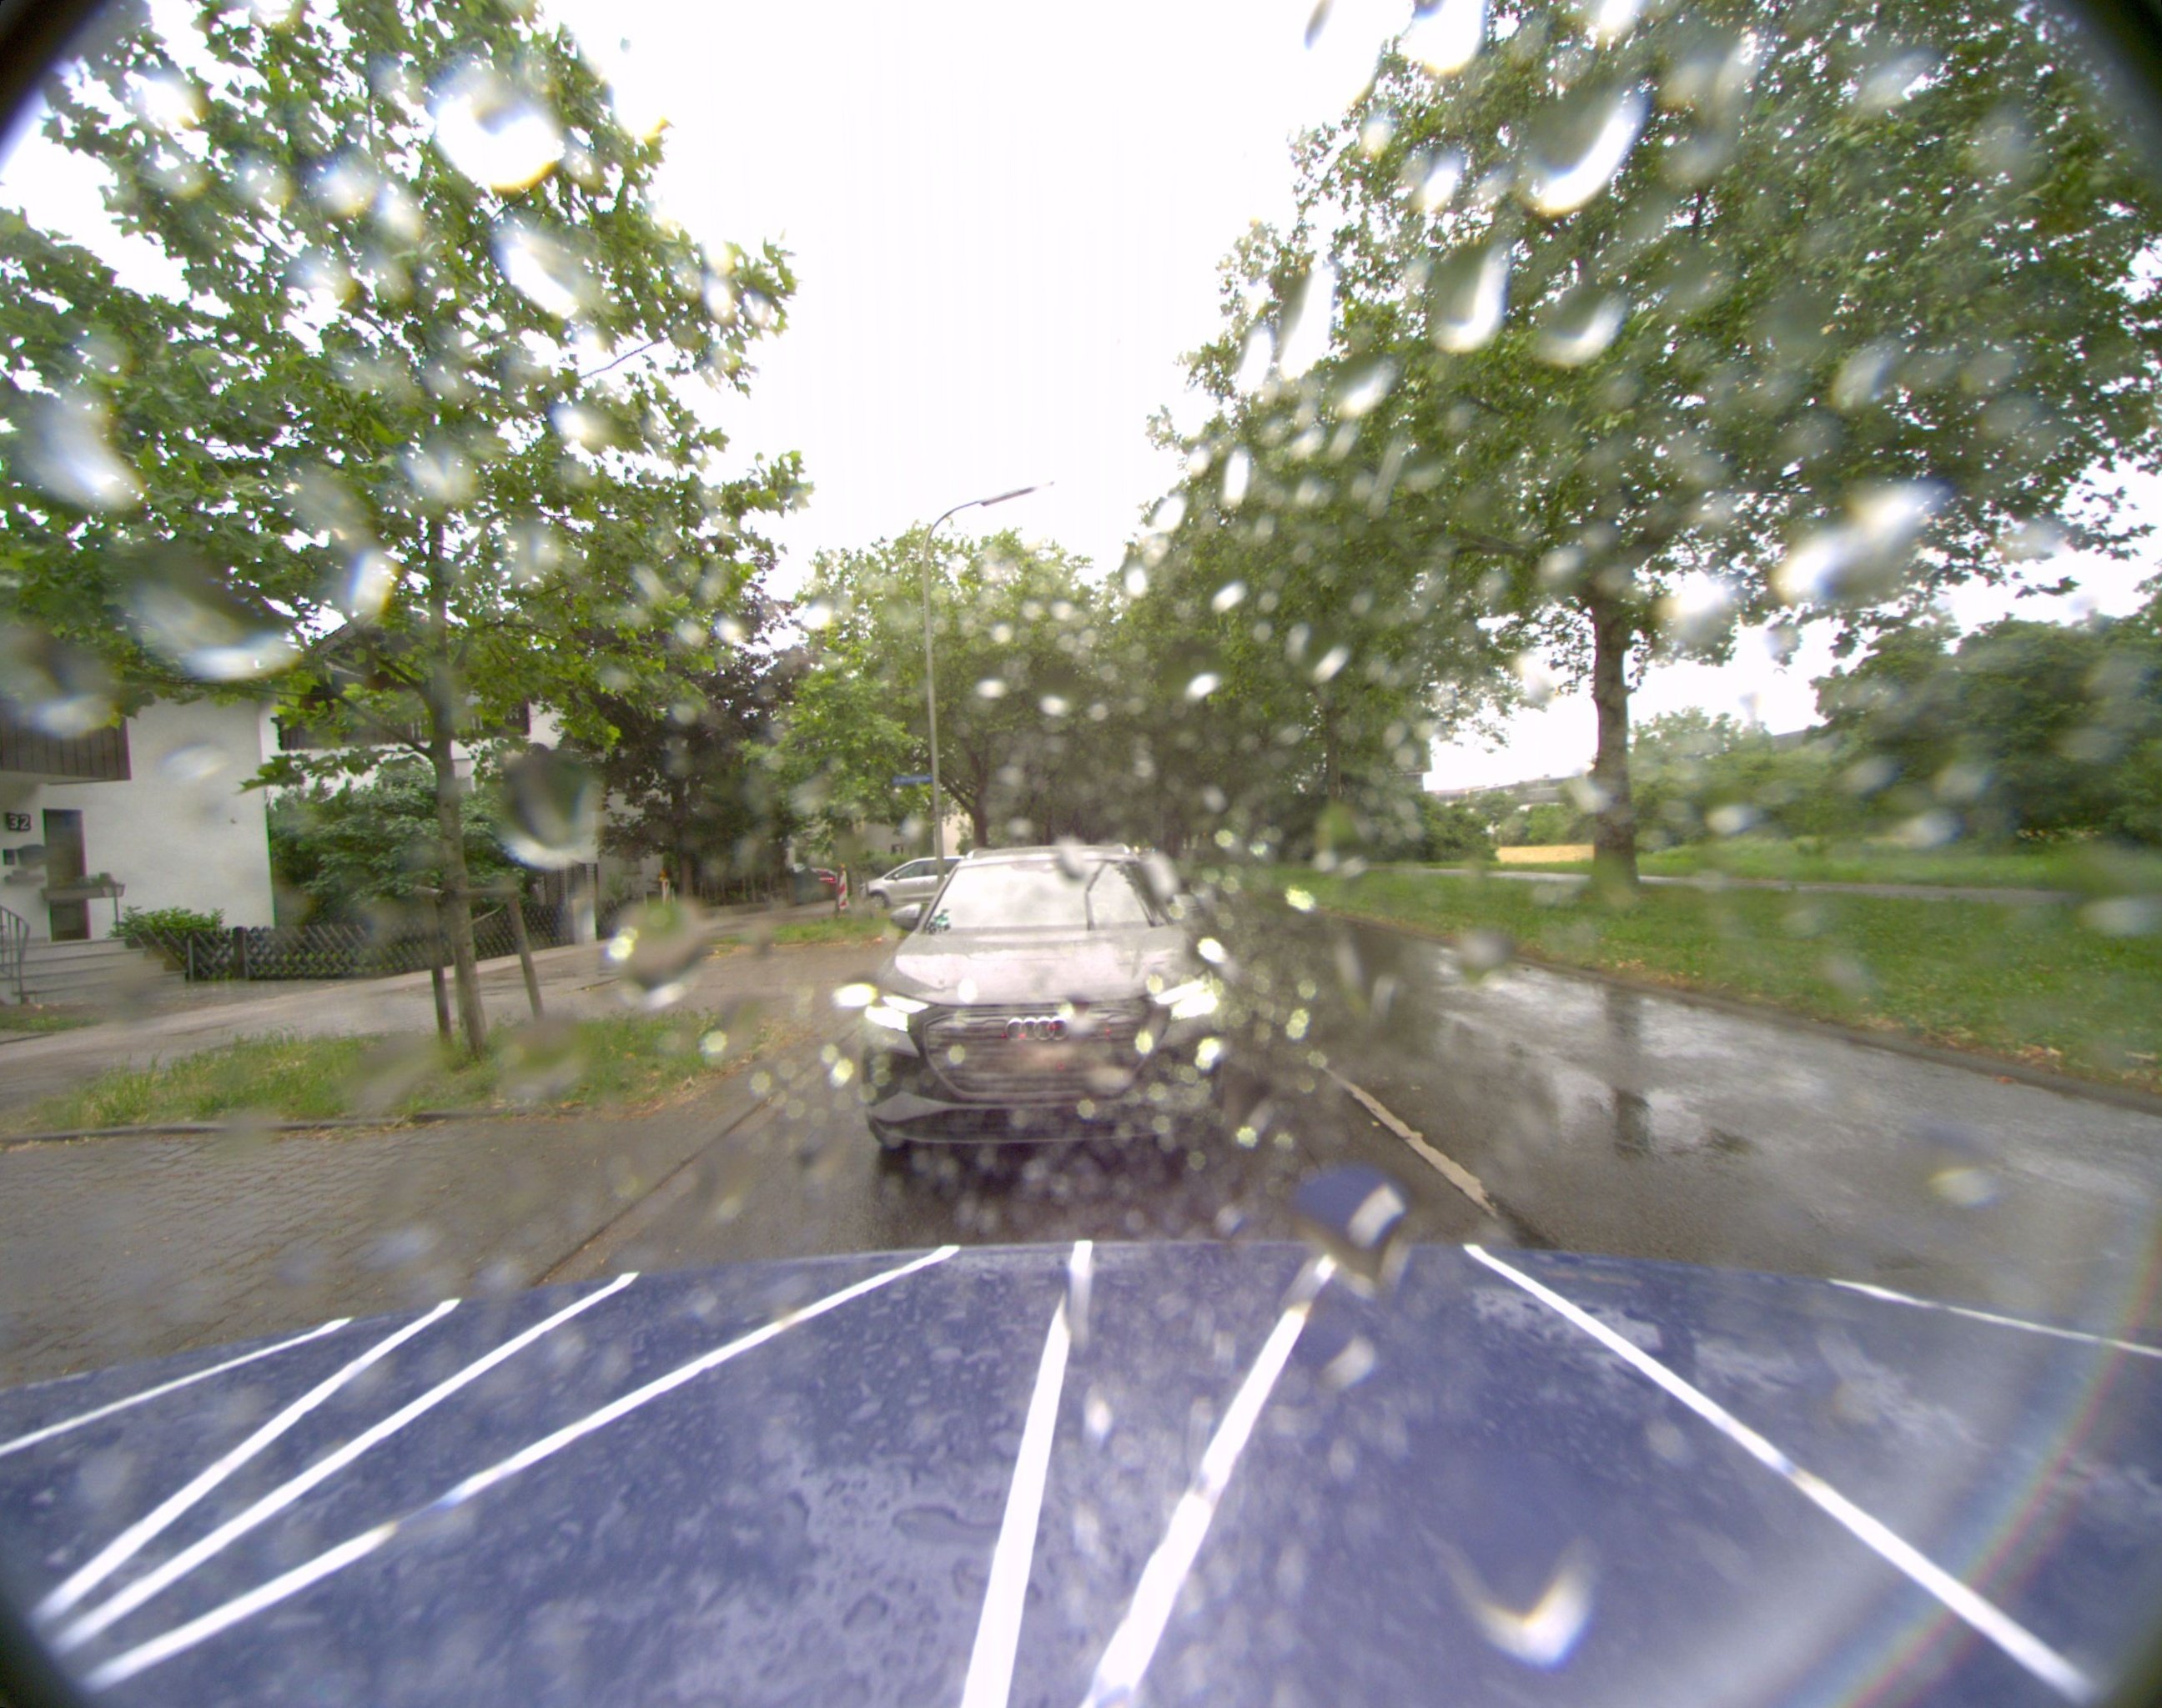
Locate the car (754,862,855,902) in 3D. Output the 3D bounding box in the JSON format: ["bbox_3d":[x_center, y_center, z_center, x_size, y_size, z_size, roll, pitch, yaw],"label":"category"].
[{"bbox_3d":[-12.643,1.249,34.899,3.853,1.603,1.843,-3,0,2],"label":"car"}]

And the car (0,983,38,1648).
[{"bbox_3d":[-4.746,1.119,0.606,4.779,1.464,1.937,-2,0,-4],"label":"car"}]

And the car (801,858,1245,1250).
[{"bbox_3d":[-0.216,0.886,5.516,1.862,1.608,4.423,-3,0,1],"label":"car"}]

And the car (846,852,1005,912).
[{"bbox_3d":[-4.956,0.877,24.736,4.701,1.651,1.976,-3,0,-1],"label":"car"}]
